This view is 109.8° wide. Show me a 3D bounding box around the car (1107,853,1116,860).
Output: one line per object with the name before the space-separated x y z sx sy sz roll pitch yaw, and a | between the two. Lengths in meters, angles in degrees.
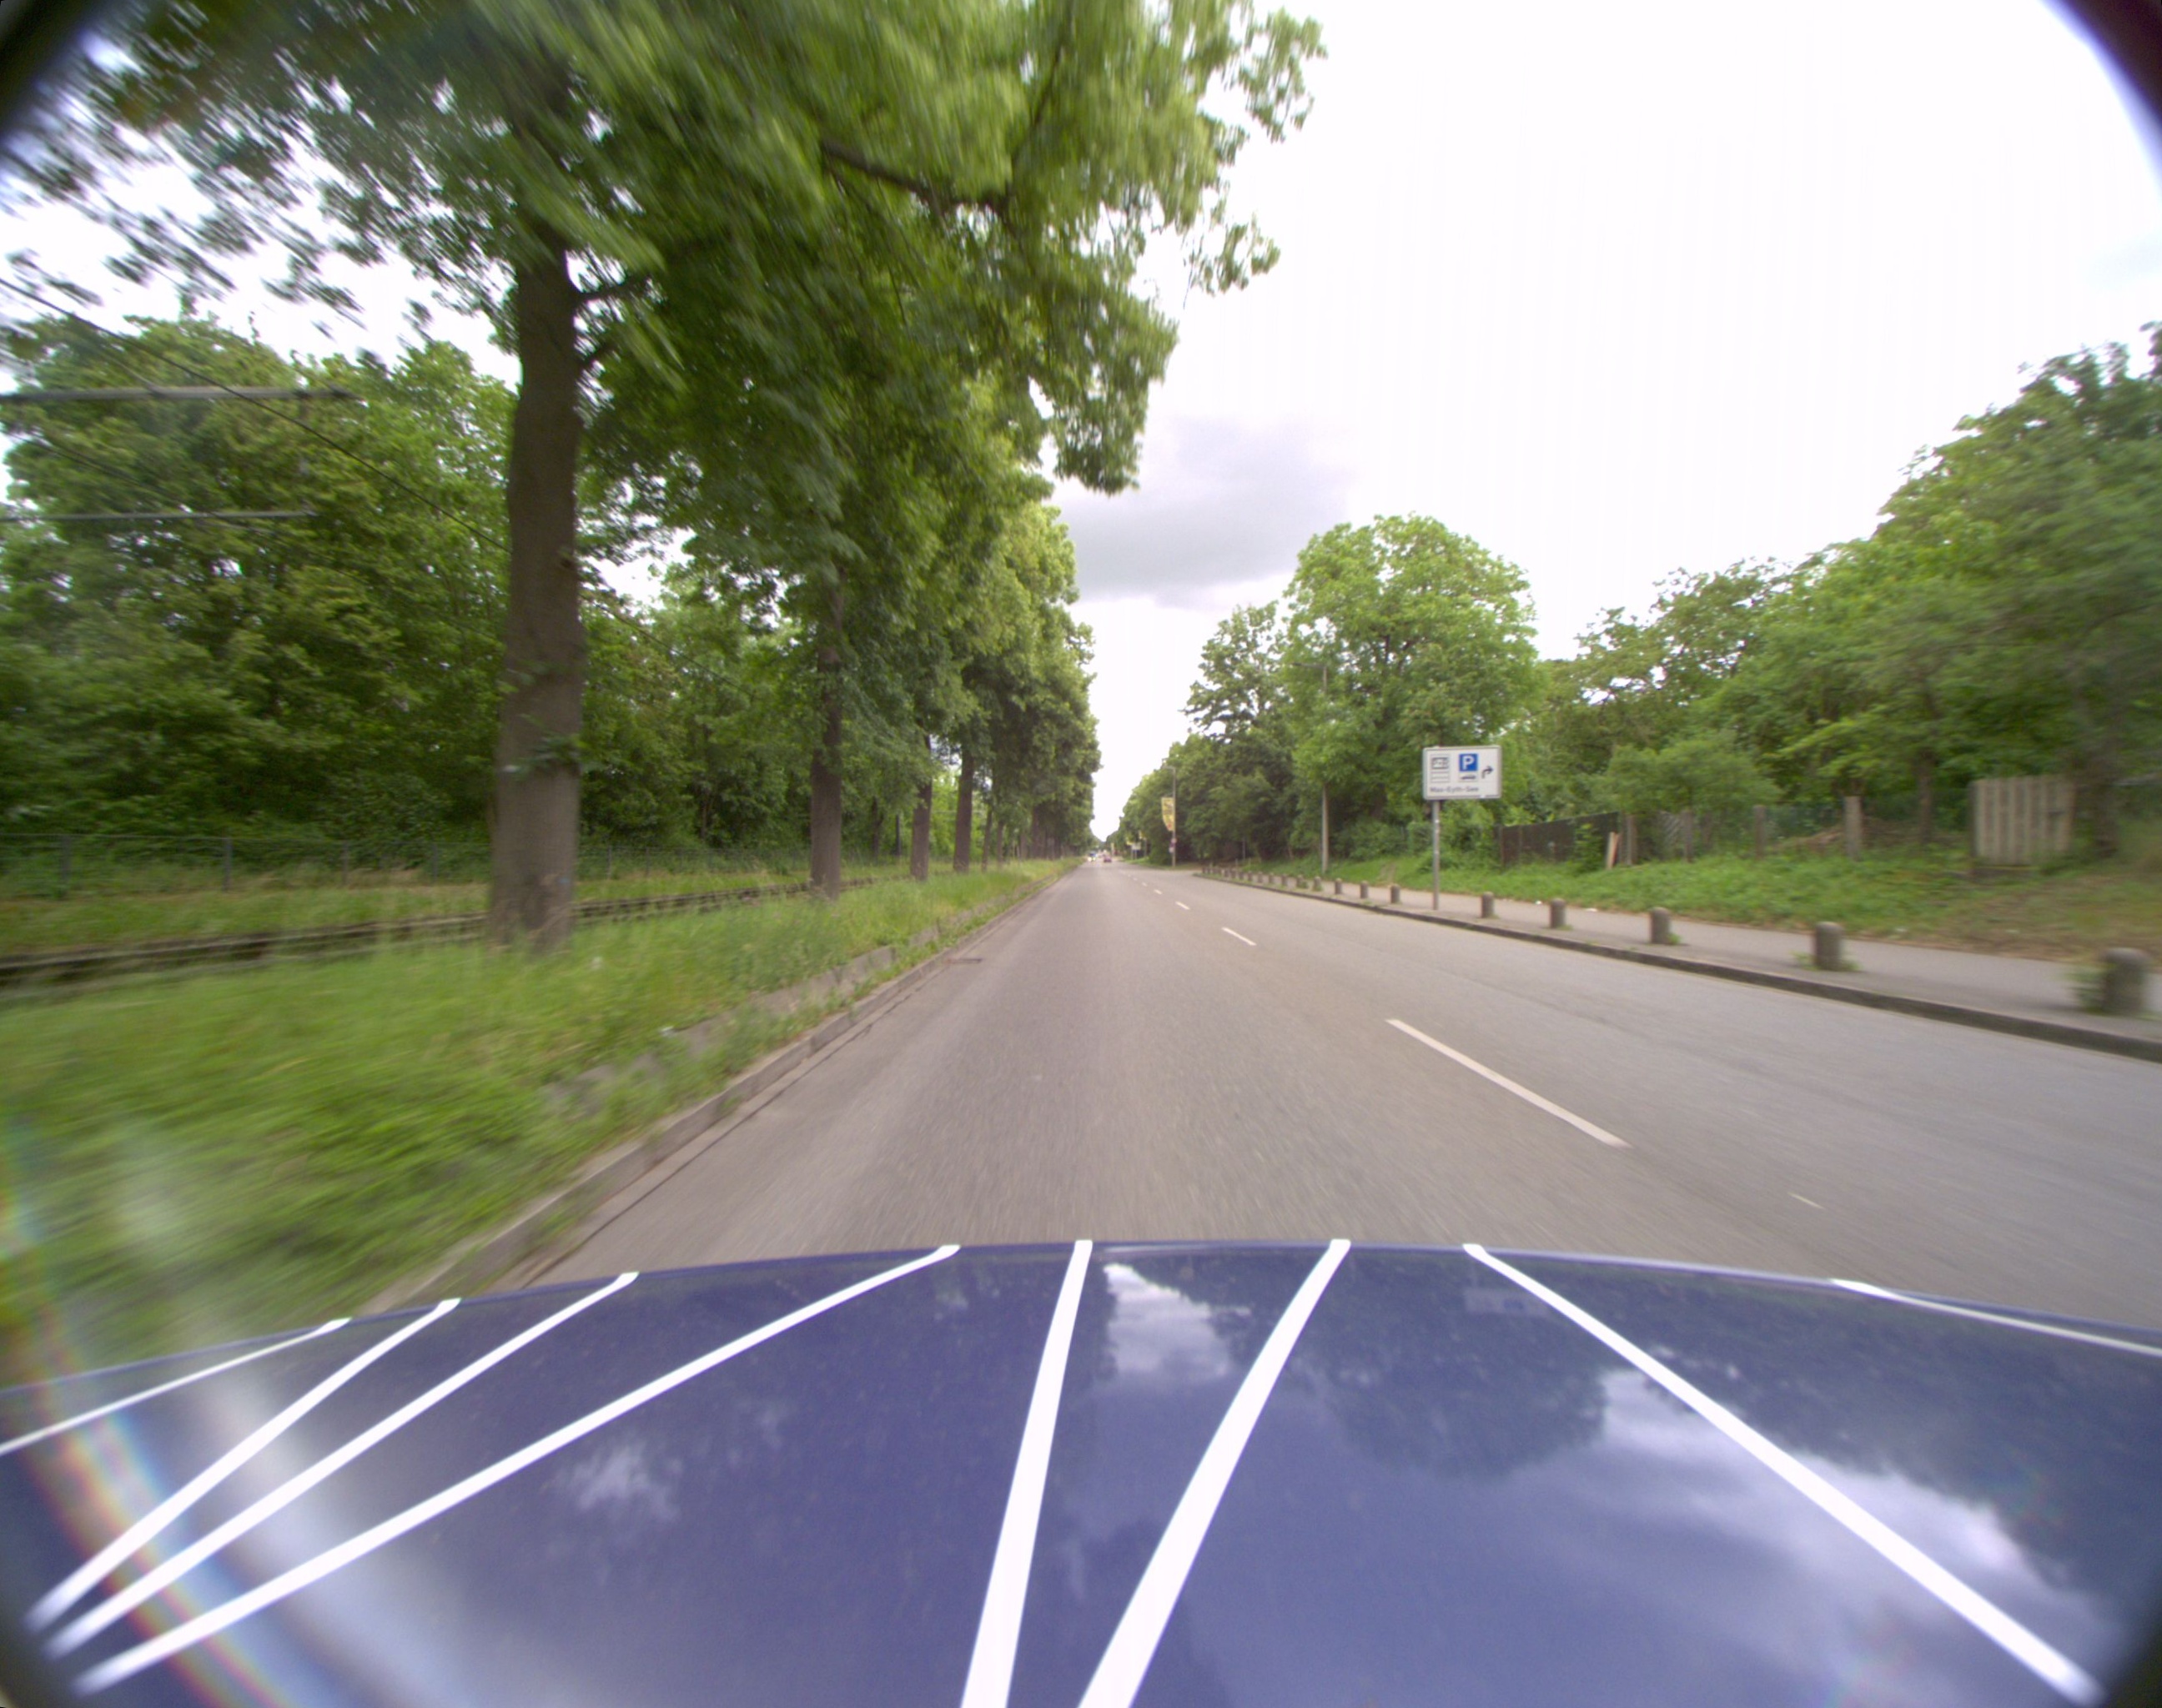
car | 6.940 0.603 171.657 1.721 1.420 4.196 1 0 -2
